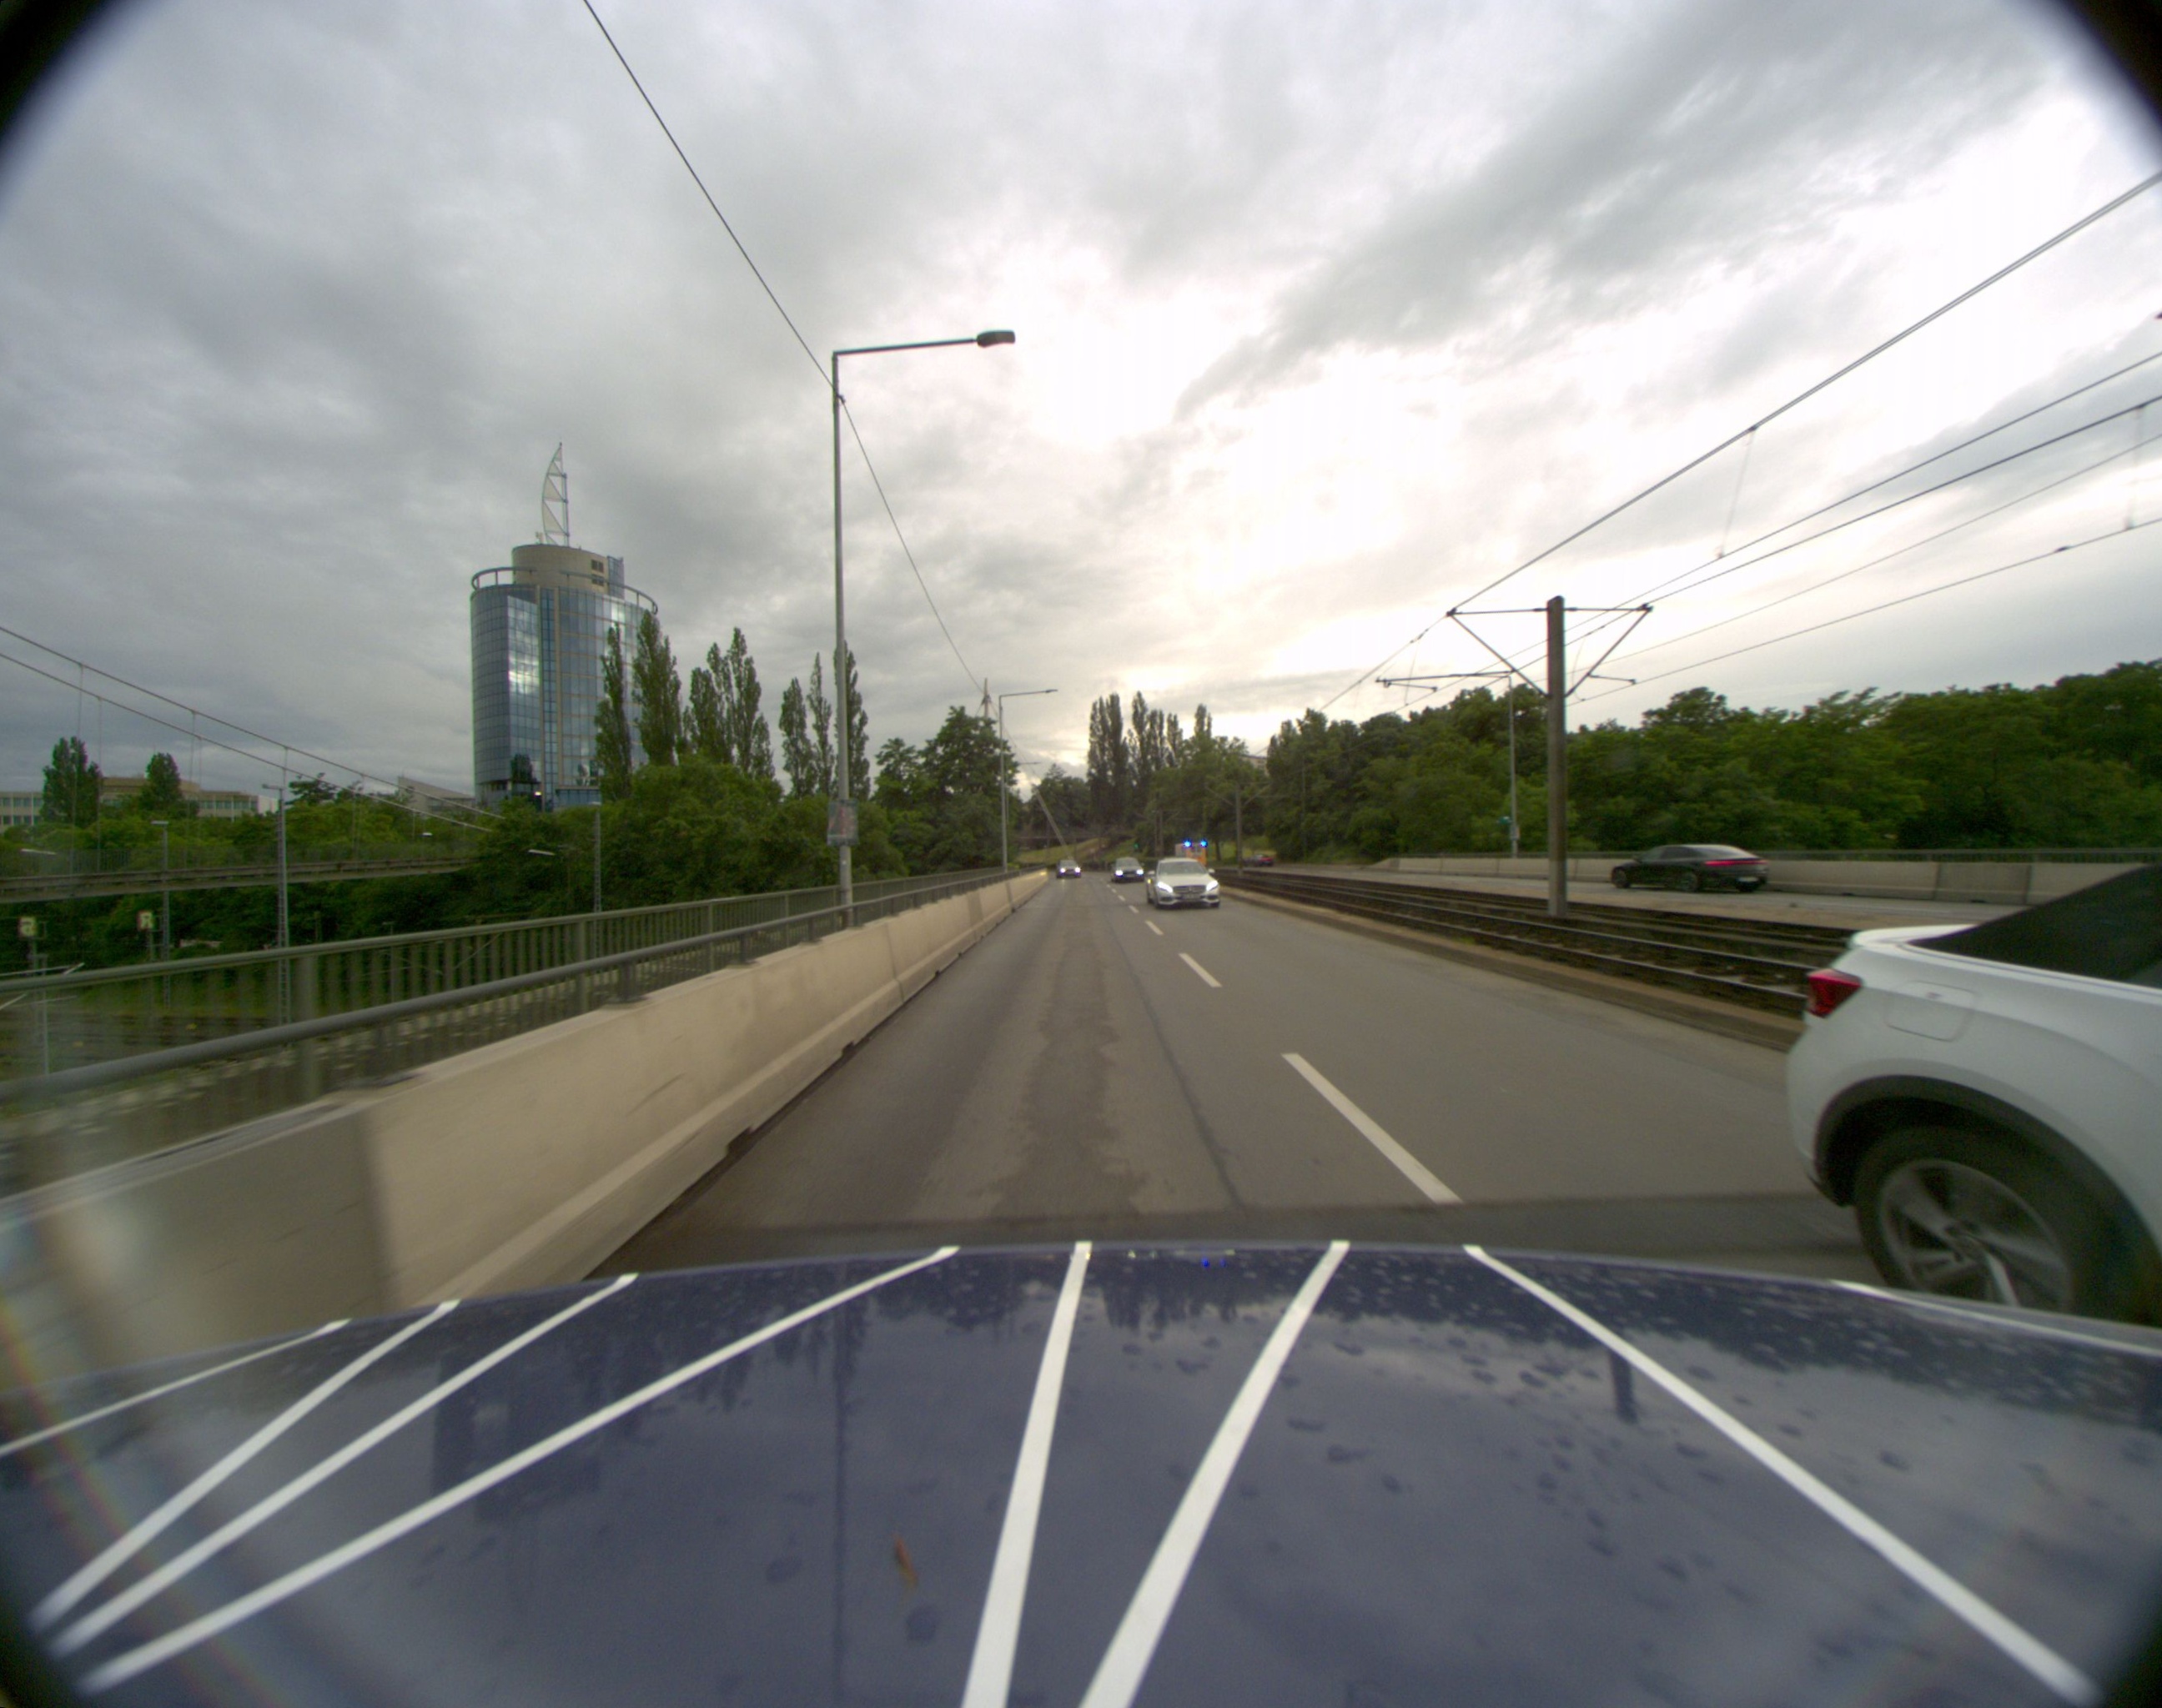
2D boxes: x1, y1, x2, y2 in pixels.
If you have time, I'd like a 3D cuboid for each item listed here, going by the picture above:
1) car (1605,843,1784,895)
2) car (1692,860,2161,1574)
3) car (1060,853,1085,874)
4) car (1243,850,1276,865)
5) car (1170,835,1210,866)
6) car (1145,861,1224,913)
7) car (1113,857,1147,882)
[{"bbox_3d":[19.013,0.442,23.899,1.821,1.428,4.741,-2,0,1],"label":"car"},{"bbox_3d":[3.345,0.838,0.708,1.876,1.515,4.539,-2,1,0],"label":"car"},{"bbox_3d":[-0.728,0.708,60.058,1.768,1.492,3.998,-2,0,-3],"label":"car"},{"bbox_3d":[17.551,0.373,74.915,1.842,1.306,4.617,-4,0,-4],"label":"car"},{"bbox_3d":[11.842,-0.388,83.063,2.397,3.097,6.351,-3,1,-10],"label":"car"},{"bbox_3d":[3.025,0.921,22.925,1.871,1.348,4.060,-1,0,1],"label":"car"},{"bbox_3d":[2.872,0.880,45.237,1.736,1.344,4.000,-2,0,1],"label":"car"}]
